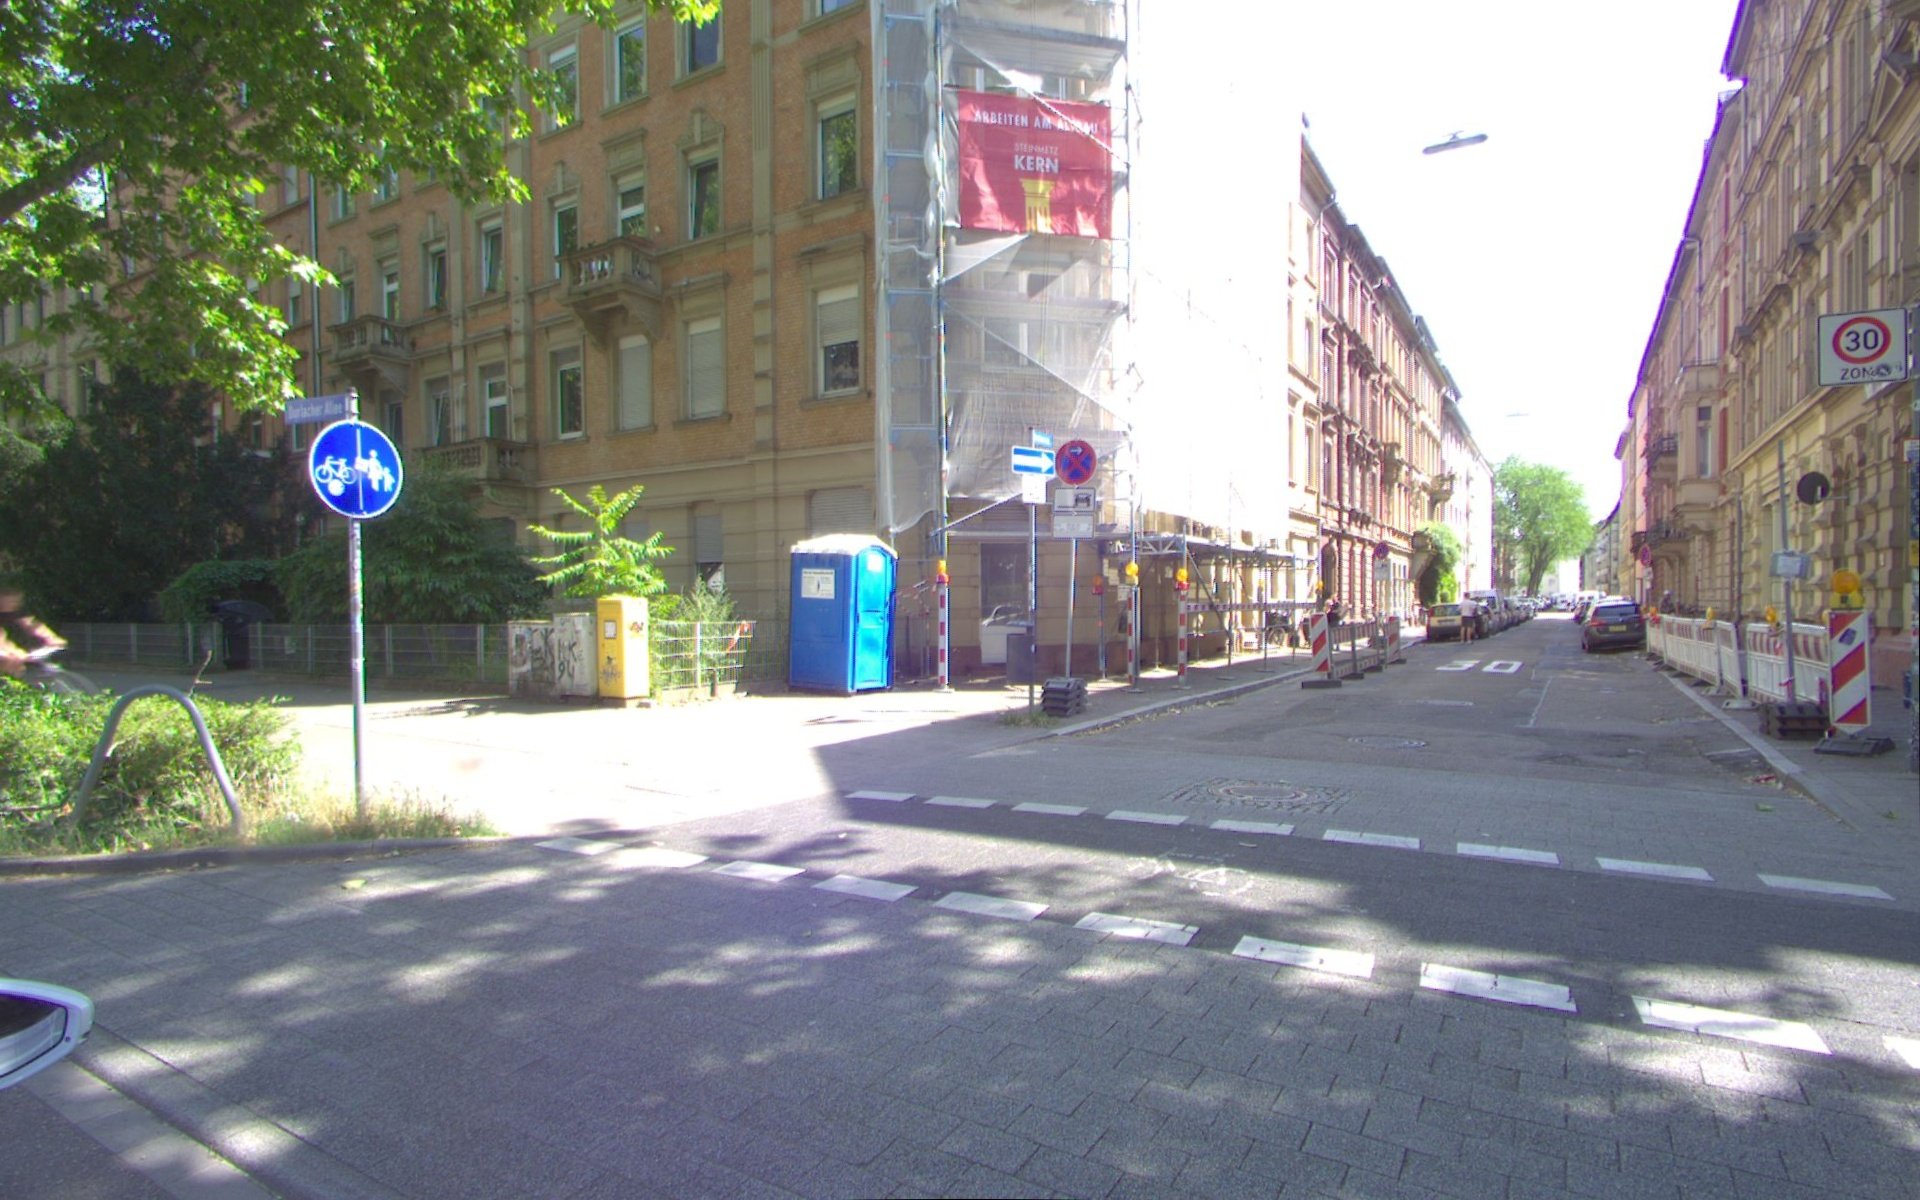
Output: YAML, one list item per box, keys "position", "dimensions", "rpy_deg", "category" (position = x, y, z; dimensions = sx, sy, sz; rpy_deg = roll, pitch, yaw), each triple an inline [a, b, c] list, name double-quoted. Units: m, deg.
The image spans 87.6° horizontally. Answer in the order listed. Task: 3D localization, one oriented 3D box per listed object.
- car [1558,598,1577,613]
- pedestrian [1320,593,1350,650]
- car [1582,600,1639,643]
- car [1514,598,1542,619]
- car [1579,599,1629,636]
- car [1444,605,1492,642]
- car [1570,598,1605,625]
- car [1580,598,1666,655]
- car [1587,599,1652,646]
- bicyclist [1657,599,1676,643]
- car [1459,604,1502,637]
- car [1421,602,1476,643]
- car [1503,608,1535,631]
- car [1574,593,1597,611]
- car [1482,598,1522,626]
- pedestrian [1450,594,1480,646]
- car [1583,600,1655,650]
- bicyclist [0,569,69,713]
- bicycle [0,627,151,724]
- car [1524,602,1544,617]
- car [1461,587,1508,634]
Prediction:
- position: [74.021, 0.638, 121.980]
  dimensions: [1.971, 1.762, 3.980]
  rpy_deg: [0, 0, 31]
  category: "car"
- position: [11.706, 0.676, 31.241]
  dimensions: [0.843, 1.748, 0.834]
  rpy_deg: [0, 0, 19]
  category: "pedestrian"
- position: [28.472, 0.903, 43.931]
  dimensions: [1.971, 1.762, 3.979]
  rpy_deg: [0, 0, 31]
  category: "car"
- position: [48.060, 0.722, 84.647]
  dimensions: [1.886, 1.732, 4.140]
  rpy_deg: [0, 0, 32]
  category: "car"
- position: [31.746, 0.849, 49.479]
  dimensions: [1.971, 1.762, 3.979]
  rpy_deg: [0, 0, 31]
  category: "car"
- position: [22.577, 1.005, 44.438]
  dimensions: [1.702, 1.549, 3.478]
  rpy_deg: [0, 0, 30]
  category: "car"
- position: [43.005, 0.781, 68.732]
  dimensions: [1.971, 1.762, 3.979]
  rpy_deg: [0, 0, 31]
  category: "car"
- position: [19.698, 0.749, 29.878]
  dimensions: [1.971, 1.572, 3.979]
  rpy_deg: [0, 0, 31]
  category: "car"
- position: [25.695, 0.834, 39.138]
  dimensions: [1.971, 1.762, 3.979]
  rpy_deg: [0, 0, 31]
  category: "car"
- position: [24.221, 0.712, 34.335]
  dimensions: [0.525, 1.472, 0.458]
  rpy_deg: [0, 1, 33]
  category: "bicyclist"
- position: [25.751, 1.001, 49.492]
  dimensions: [1.702, 1.549, 3.478]
  rpy_deg: [0, 0, 30]
  category: "car"
- position: [19.478, 0.867, 39.858]
  dimensions: [1.702, 1.549, 3.478]
  rpy_deg: [0, 0, 30]
  category: "car"
- position: [42.320, 1.453, 75.794]
  dimensions: [1.886, 1.732, 4.139]
  rpy_deg: [0, 0, 33]
  category: "car"
- position: [63.293, 0.215, 101.345]
  dimensions: [1.971, 1.762, 3.980]
  rpy_deg: [0, 0, 31]
  category: "car"
- position: [34.391, 0.747, 63.496]
  dimensions: [1.886, 1.732, 4.139]
  rpy_deg: [0, 0, 33]
  category: "car"
- position: [18.115, 0.716, 35.889]
  dimensions: [0.922, 1.822, 1.034]
  rpy_deg: [0, 1, 29]
  category: "pedestrian"
- position: [23.027, 0.824, 35.101]
  dimensions: [1.971, 1.661, 3.979]
  rpy_deg: [0, 0, 31]
  category: "car"
- position: [-11.035, 0.467, 11.789]
  dimensions: [0.616, 1.645, 0.690]
  rpy_deg: [0, 1, 37]
  category: "bicyclist"
- position: [-10.921, 0.880, 11.933]
  dimensions: [0.526, 1.063, 1.912]
  rpy_deg: [0, 0, 37]
  category: "bicycle"
- position: [58.260, 0.959, 101.671]
  dimensions: [1.646, 1.420, 3.343]
  rpy_deg: [0, 0, 32]
  category: "car"
- position: [28.231, 0.541, 53.871]
  dimensions: [1.886, 2.405, 4.224]
  rpy_deg: [0, 0, 33]
  category: "car"
